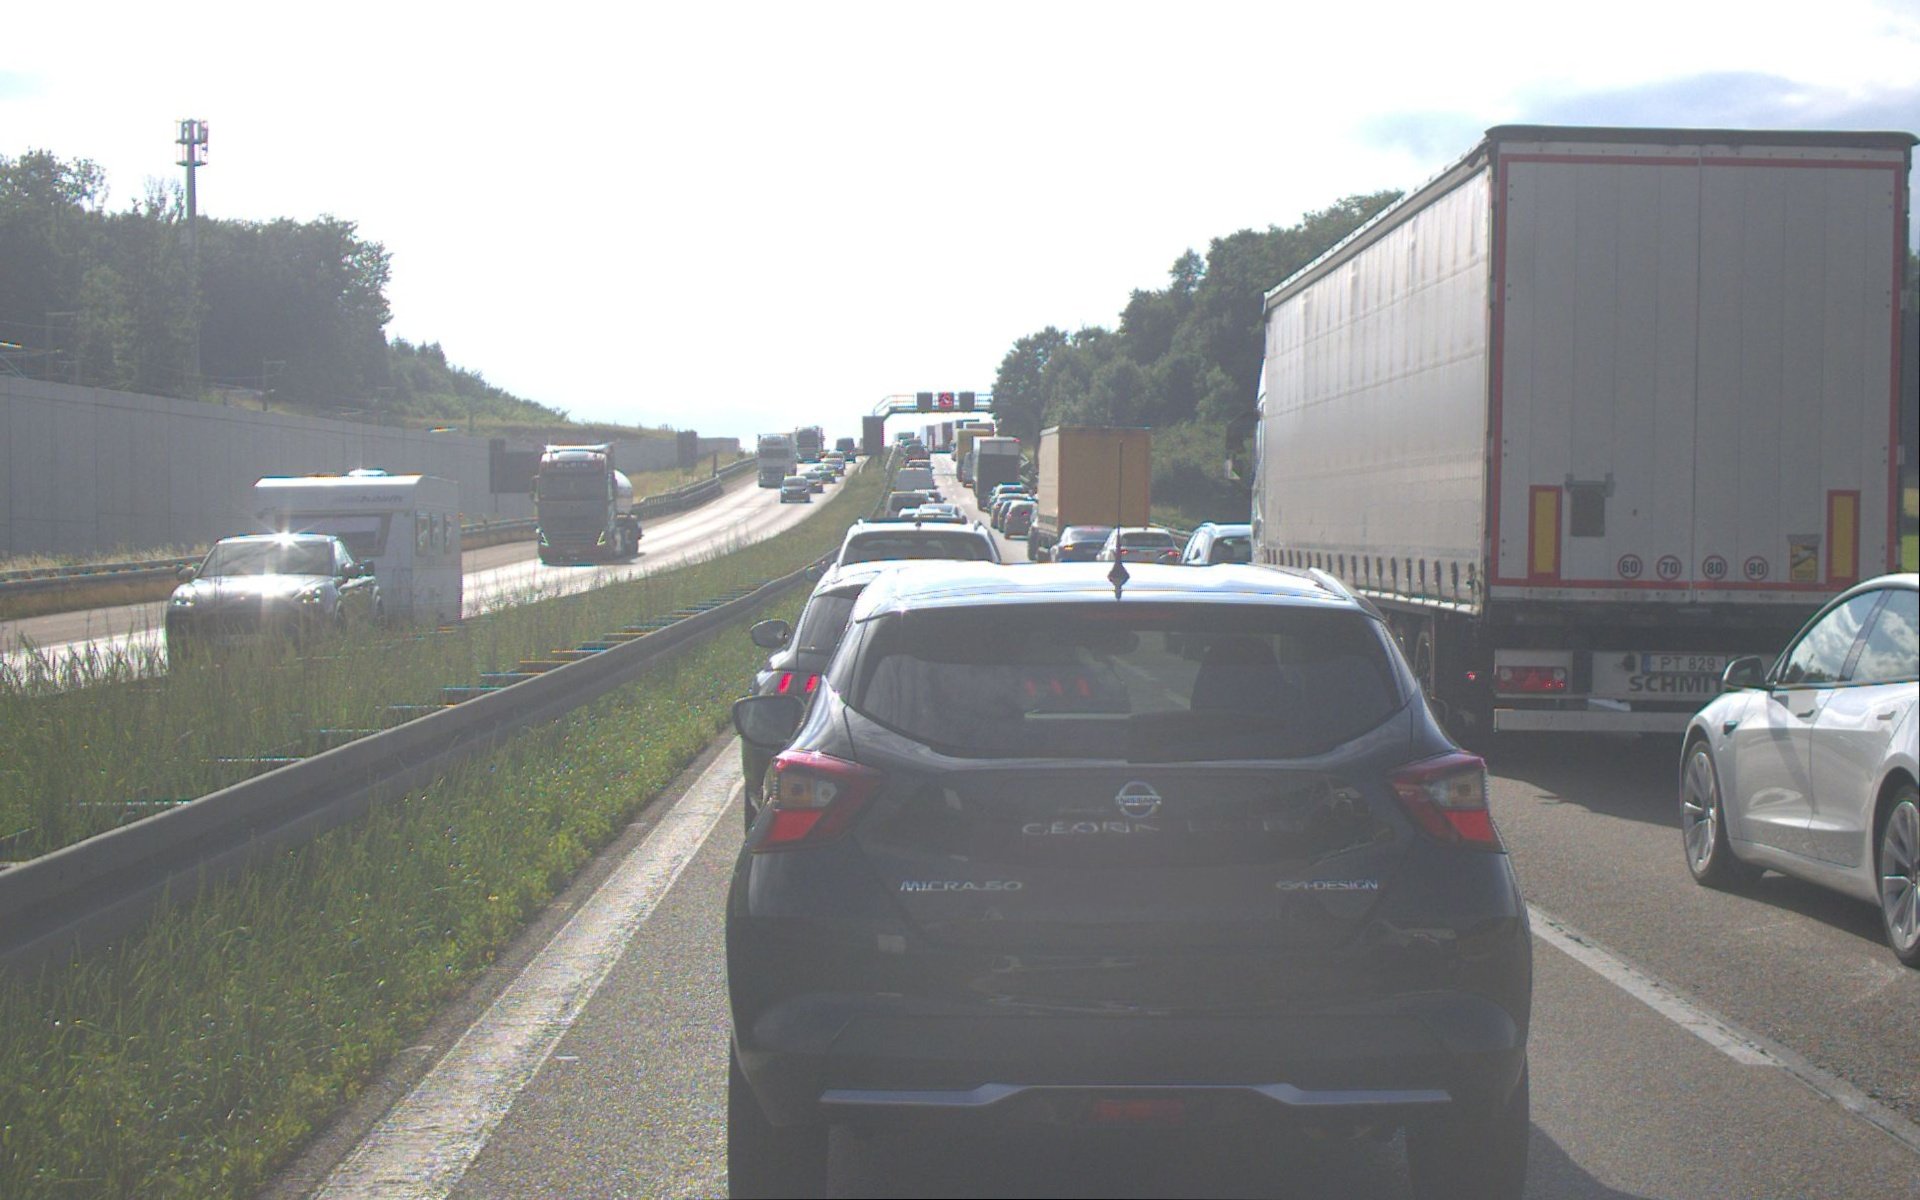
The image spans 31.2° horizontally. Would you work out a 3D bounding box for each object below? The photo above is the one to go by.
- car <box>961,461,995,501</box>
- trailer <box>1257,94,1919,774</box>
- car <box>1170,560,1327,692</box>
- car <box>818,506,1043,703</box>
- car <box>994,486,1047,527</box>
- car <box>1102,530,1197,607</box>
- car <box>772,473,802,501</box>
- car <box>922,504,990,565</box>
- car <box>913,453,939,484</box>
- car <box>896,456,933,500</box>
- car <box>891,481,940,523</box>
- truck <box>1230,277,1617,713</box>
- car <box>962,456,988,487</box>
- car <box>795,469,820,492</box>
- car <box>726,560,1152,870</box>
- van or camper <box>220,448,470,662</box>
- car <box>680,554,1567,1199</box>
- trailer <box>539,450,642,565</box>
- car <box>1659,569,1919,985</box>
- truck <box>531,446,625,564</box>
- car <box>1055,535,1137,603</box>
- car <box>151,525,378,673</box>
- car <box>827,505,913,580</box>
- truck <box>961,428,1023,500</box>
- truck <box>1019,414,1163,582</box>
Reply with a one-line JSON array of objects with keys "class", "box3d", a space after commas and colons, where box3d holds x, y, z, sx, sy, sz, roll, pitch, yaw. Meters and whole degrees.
[{"class": "car", "box3d": [1.045, -6.953, 199.889, 1.873, 2.151, 5.212, 0, 4, -1]}, {"class": "trailer", "box3d": [4.515, -0.975, 27.045, 3.130, 3.997, 13.366, 1, 0, 0]}, {"class": "car", "box3d": [3.680, 0.293, 44.490, 1.697, 1.605, 4.437, 0, 1, 1]}, {"class": "car", "box3d": [-0.261, 0.006, 30.862, 1.873, 1.638, 4.232, 0, 1, 0]}, {"class": "car", "box3d": [2.511, -3.905, 143.086, 1.873, 1.638, 4.233, 0, 2, -4]}, {"class": "car", "box3d": [4.268, -0.731, 77.899, 1.873, 1.638, 4.233, 0, 2, 0]}, {"class": "car", "box3d": [-11.133, -7.248, 221.546, 1.781, 1.731, 4.102, 0, 1, 0]}, {"class": "car", "box3d": [-0.116, -1.870, 97.087, 1.873, 1.638, 4.233, 0, 2, 0]}, {"class": "car", "box3d": [-2.486, -9.662, 251.857, 1.873, 2.151, 5.212, 0, 4, -1]}, {"class": "car", "box3d": [-2.401, -6.438, 181.187, 1.873, 2.151, 5.212, 0, 4, -1]}, {"class": "car", "box3d": [-1.792, -3.935, 137.727, 1.873, 1.638, 4.233, 0, 2, -2]}, {"class": "truck", "box3d": [4.497, -0.978, 34.437, 3.133, 4.002, 5.163, 1, 0, 0]}, {"class": "car", "box3d": [1.091, -9.530, 255.145, 1.873, 2.151, 5.212, 0, 4, -1]}, {"class": "car", "box3d": [-10.797, -8.459, 243.810, 1.697, 1.494, 4.427, 0, 1, -1]}, {"class": "car", "box3d": [-0.109, 0.483, 17.284, 1.873, 1.353, 4.232, 0, 1, 0]}, {"class": "van or camper", "box3d": [-8.271, -0.622, 46.955, 2.252, 2.694, 7.171, 0, 1, -1]}, {"class": "car", "box3d": [0.312, 0.606, 8.994, 1.773, 1.446, 4.232, 0, 1, 0]}, {"class": "trailer", "box3d": [-13.147, -3.248, 123.049, 2.588, 3.888, 10.865, -1, 1, -1]}, {"class": "car", "box3d": [4.144, 0.596, 13.478, 1.788, 1.389, 4.437, 0, 1, -2]}, {"class": "truck", "box3d": [-13.047, -3.218, 117.748, 2.582, 3.909, 5.722, -1, 1, -1]}, {"class": "car", "box3d": [3.419, -0.811, 87.274, 1.873, 1.638, 4.232, 0, 1, 0]}, {"class": "car", "box3d": [-8.251, -0.047, 41.171, 1.910, 1.666, 4.362, 0, 1, -1]}, {"class": "car", "box3d": [-2.016, -1.334, 78.163, 1.873, 1.638, 4.233, 0, 2, 0]}, {"class": "truck", "box3d": [2.019, -8.907, 225.745, 3.464, 4.561, 12.443, 1, 2, -2]}, {"class": "truck", "box3d": [3.708, -2.848, 100.739, 3.296, 4.562, 12.442, 1, 0, -2]}]
